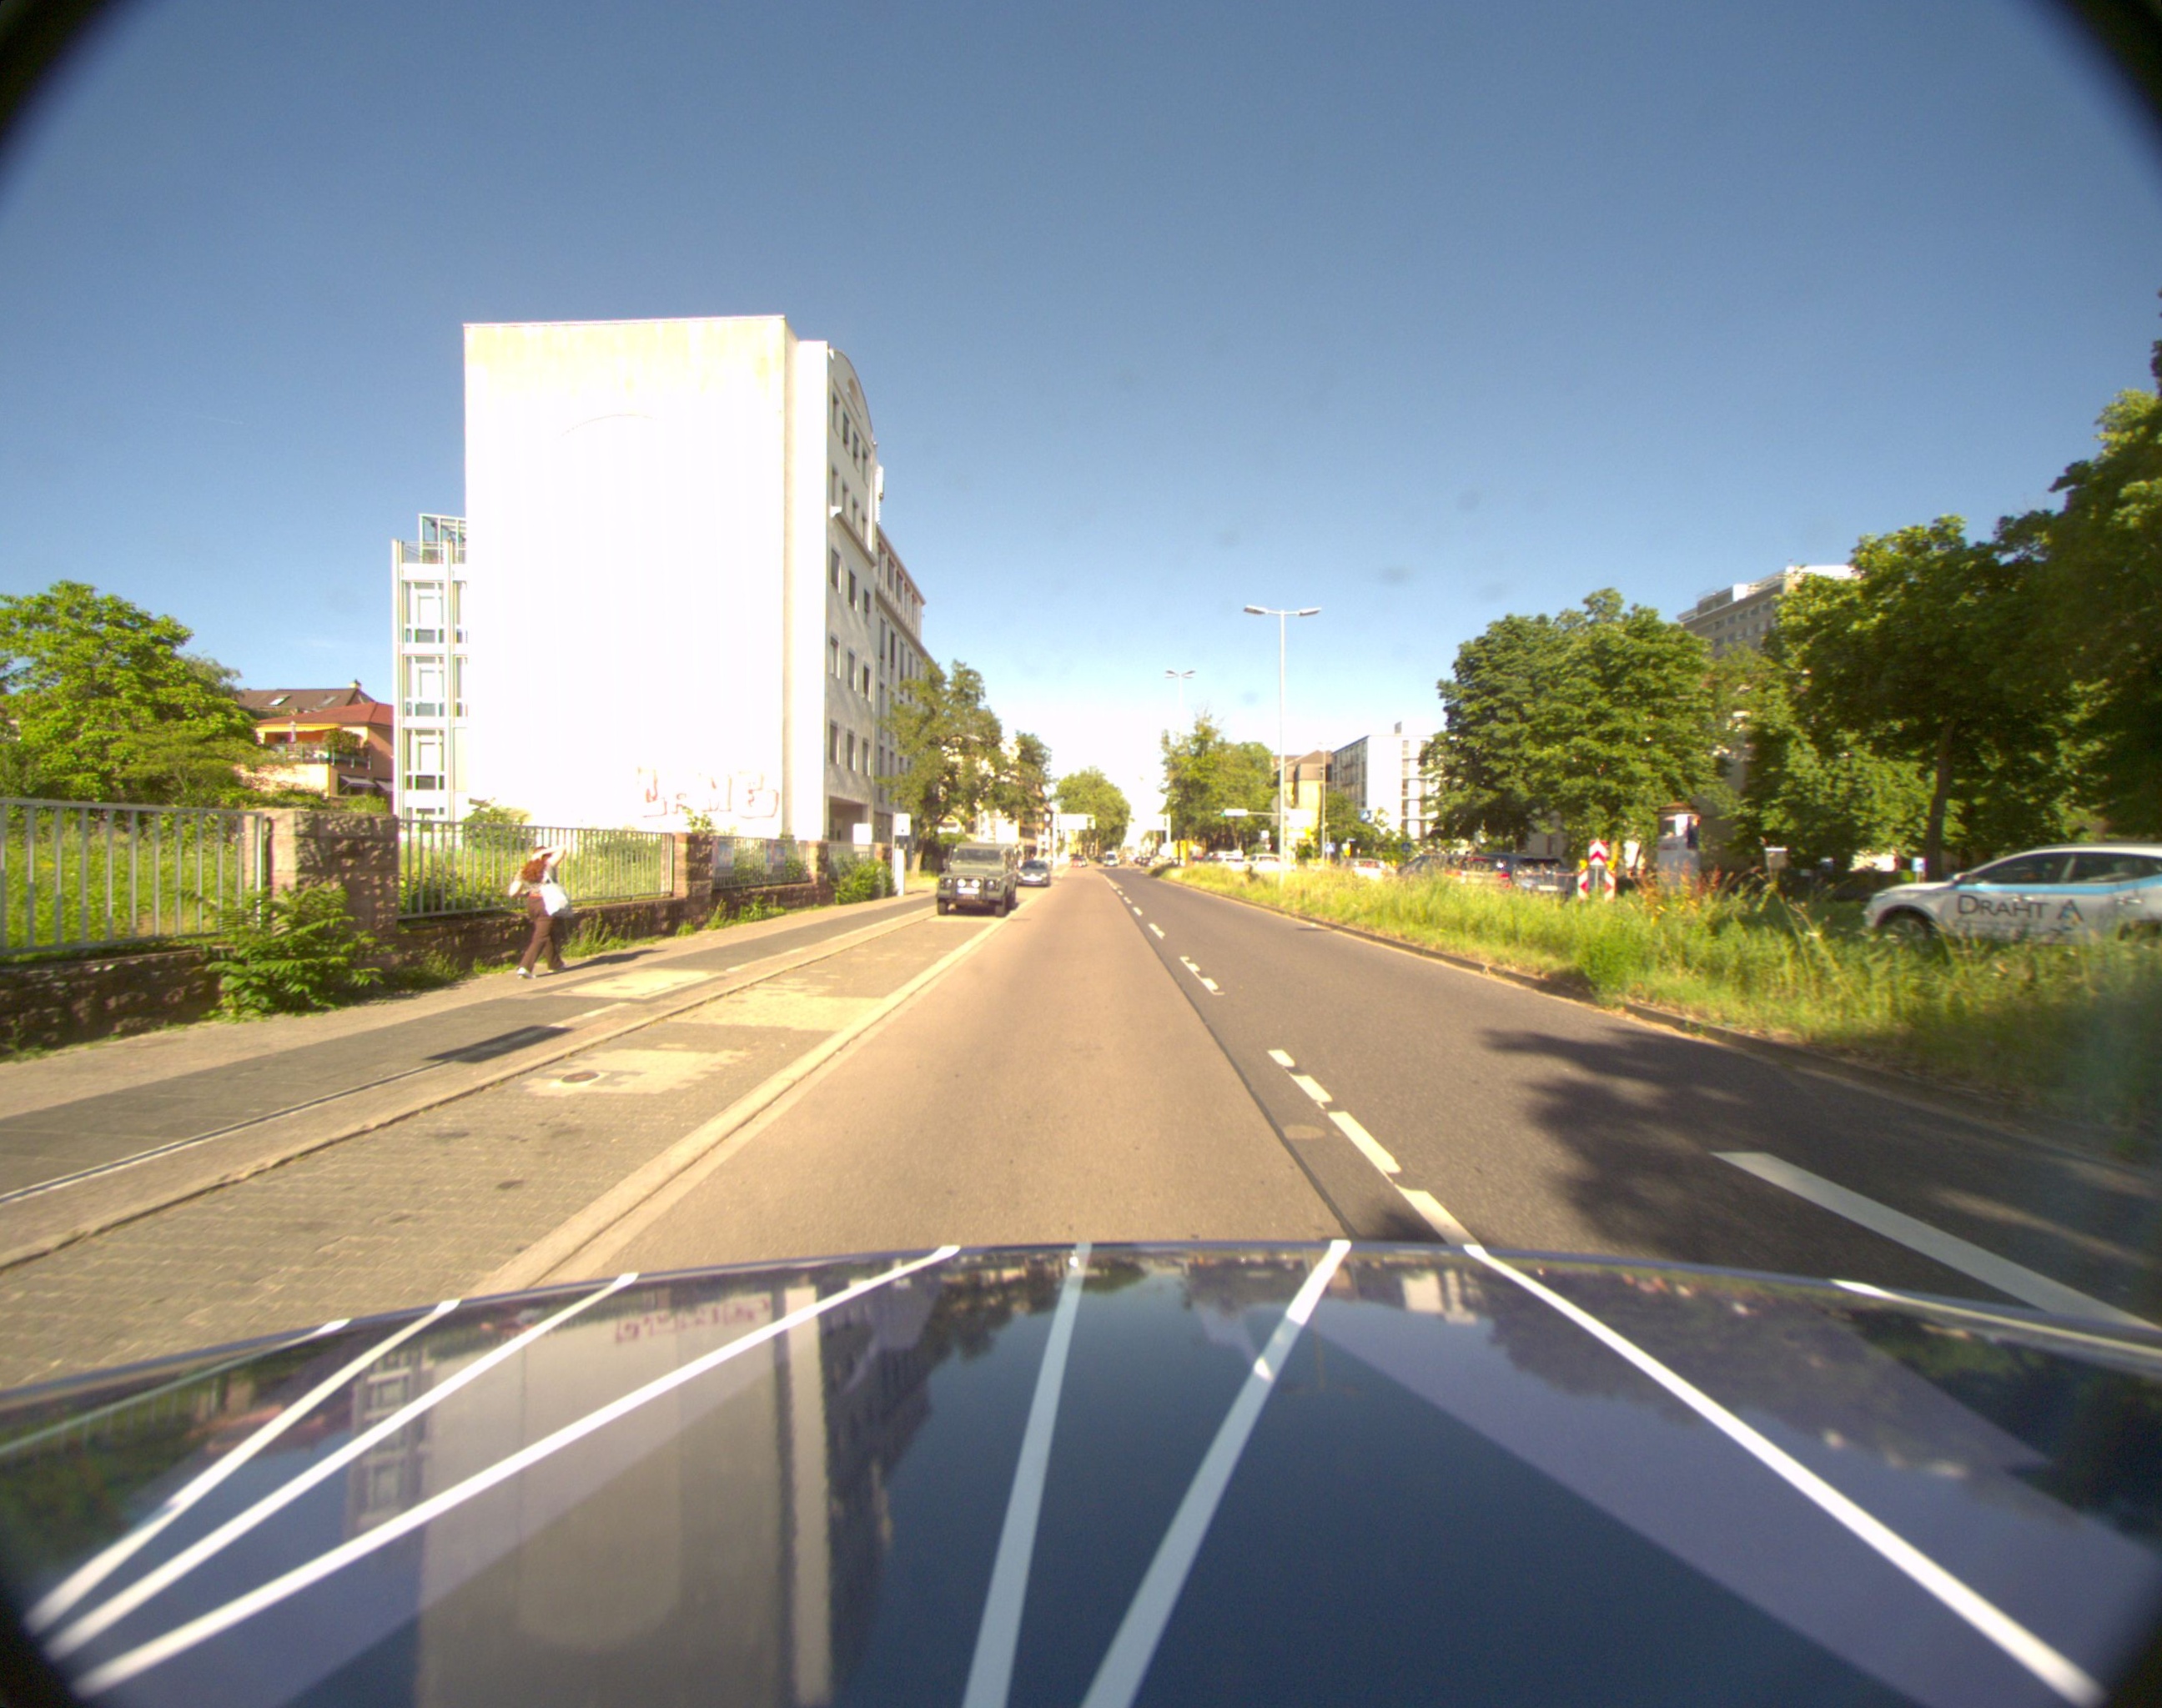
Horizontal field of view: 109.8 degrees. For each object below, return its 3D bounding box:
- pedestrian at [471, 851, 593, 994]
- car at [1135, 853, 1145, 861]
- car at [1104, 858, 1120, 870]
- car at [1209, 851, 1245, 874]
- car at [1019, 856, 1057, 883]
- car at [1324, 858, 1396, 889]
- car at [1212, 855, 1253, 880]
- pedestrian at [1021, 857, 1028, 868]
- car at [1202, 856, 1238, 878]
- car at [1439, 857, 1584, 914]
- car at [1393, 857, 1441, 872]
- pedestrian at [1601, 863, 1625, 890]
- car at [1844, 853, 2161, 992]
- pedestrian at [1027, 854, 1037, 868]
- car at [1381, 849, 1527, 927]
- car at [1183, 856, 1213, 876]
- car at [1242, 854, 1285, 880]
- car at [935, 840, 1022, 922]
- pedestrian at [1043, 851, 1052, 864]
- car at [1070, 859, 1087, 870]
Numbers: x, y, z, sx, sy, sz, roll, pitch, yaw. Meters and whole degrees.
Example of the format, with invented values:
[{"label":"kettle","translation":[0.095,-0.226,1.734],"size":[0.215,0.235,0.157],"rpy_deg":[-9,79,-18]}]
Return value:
[{"label":"pedestrian","translation":[-6.380,0.760,8.884],"size":[0.745,1.574,0.897],"rpy_deg":[1,0,1]},{"label":"car","translation":[11.694,0.636,151.071],"size":[1.861,1.576,4.278],"rpy_deg":[0,0,2]},{"label":"car","translation":[4.615,1.503,111.845],"size":[1.882,1.511,4.000],"rpy_deg":[-1,3,8]},{"label":"car","translation":[13.059,0.706,68.282],"size":[2.239,2.016,5.017],"rpy_deg":[0,0,0]},{"label":"car","translation":[-2.357,0.893,42.340],"size":[1.641,1.439,4.158],"rpy_deg":[0,-2,3]},{"label":"car","translation":[12.983,0.855,35.593],"size":[1.800,1.344,4.258],"rpy_deg":[0,0,0]},{"label":"car","translation":[9.643,0.821,48.770],"size":[1.800,1.510,4.205],"rpy_deg":[0,0,0]},{"label":"pedestrian","translation":[-6.428,0.990,85.849],"size":[0.647,1.196,0.526],"rpy_deg":[0,3,11]},{"label":"car","translation":[10.174,0.953,55.919],"size":[1.800,1.510,4.363],"rpy_deg":[-1,0,0]},{"label":"car","translation":[12.605,0.850,22.629],"size":[1.800,1.510,4.444],"rpy_deg":[0,0,0]},{"label":"car","translation":[38.698,1.243,87.538],"size":[4.704,1.609,1.919],"rpy_deg":[0,3,10]},{"label":"pedestrian","translation":[30.096,1.277,42.981],"size":[0.742,1.526,0.781],"rpy_deg":[1,0,-5]},{"label":"car","translation":[12.659,0.739,9.579],"size":[1.800,1.510,4.258],"rpy_deg":[0,0,0]},{"label":"pedestrian","translation":[-5.505,0.776,85.741],"size":[0.897,1.614,0.721],"rpy_deg":[0,3,11]},{"label":"car","translation":[9.596,0.783,19.981],"size":[1.757,1.609,4.321],"rpy_deg":[-1,3,1]},{"label":"car","translation":[9.622,0.941,62.796],"size":[1.800,1.510,4.346],"rpy_deg":[-1,1,0]},{"label":"car","translation":[12.850,0.868,53.840],"size":[1.800,1.733,5.031],"rpy_deg":[0,0,0]},{"label":"car","translation":[-2.732,0.651,21.270],"size":[1.664,2.002,4.776],"rpy_deg":[1,1,1]},{"label":"pedestrian","translation":[-4.195,0.479,95.999],"size":[0.788,1.599,0.927],"rpy_deg":[-3,4,-33]},{"label":"car","translation":[-0.322,1.449,110.417],"size":[1.882,1.510,4.002],"rpy_deg":[-1,0,8]}]
